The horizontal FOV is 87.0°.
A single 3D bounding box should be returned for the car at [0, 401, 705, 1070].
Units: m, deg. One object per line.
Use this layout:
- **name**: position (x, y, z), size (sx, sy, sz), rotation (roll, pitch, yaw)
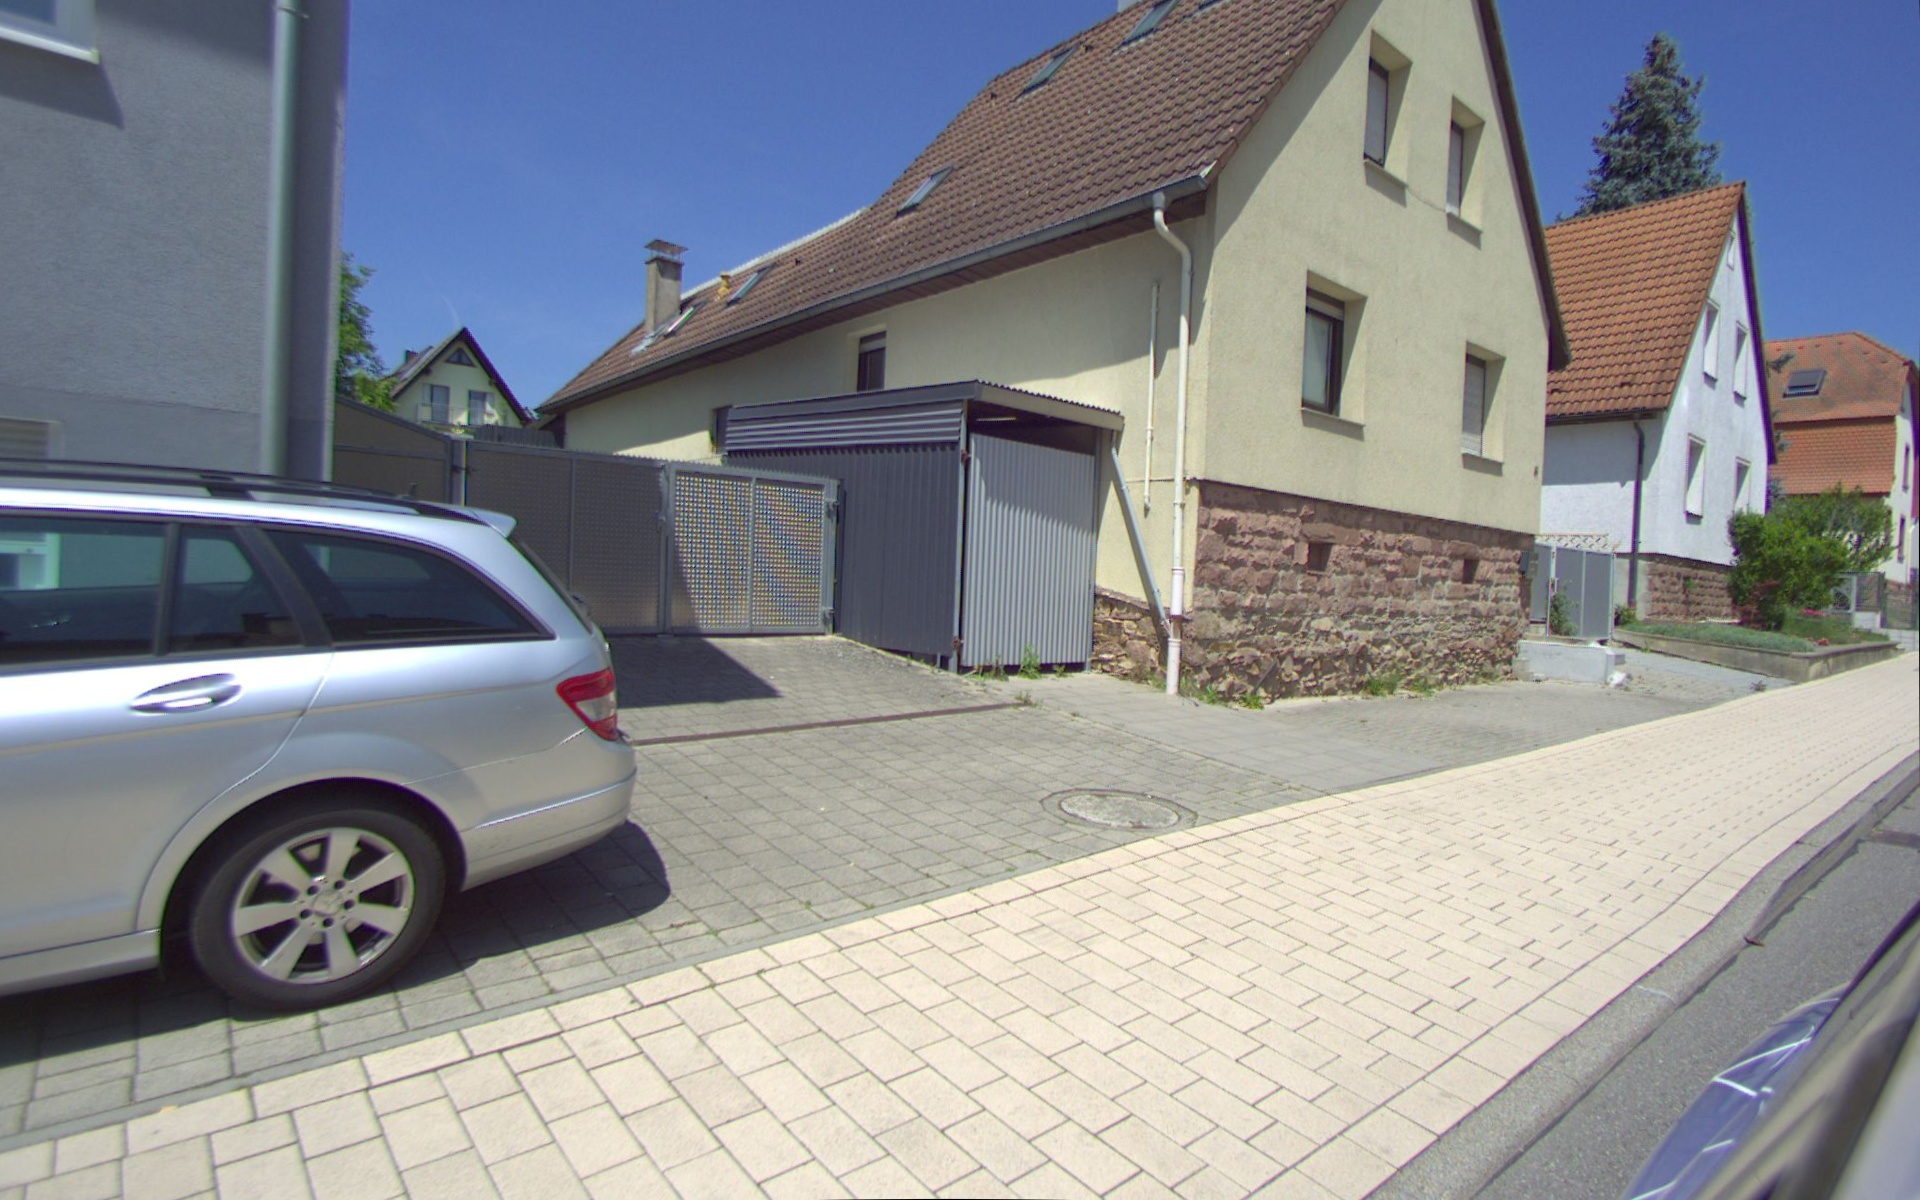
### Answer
- **car**: position (-3.165, 0.217, 2.675), size (4.438, 1.559, 1.797), rotation (0, 7, -39)
